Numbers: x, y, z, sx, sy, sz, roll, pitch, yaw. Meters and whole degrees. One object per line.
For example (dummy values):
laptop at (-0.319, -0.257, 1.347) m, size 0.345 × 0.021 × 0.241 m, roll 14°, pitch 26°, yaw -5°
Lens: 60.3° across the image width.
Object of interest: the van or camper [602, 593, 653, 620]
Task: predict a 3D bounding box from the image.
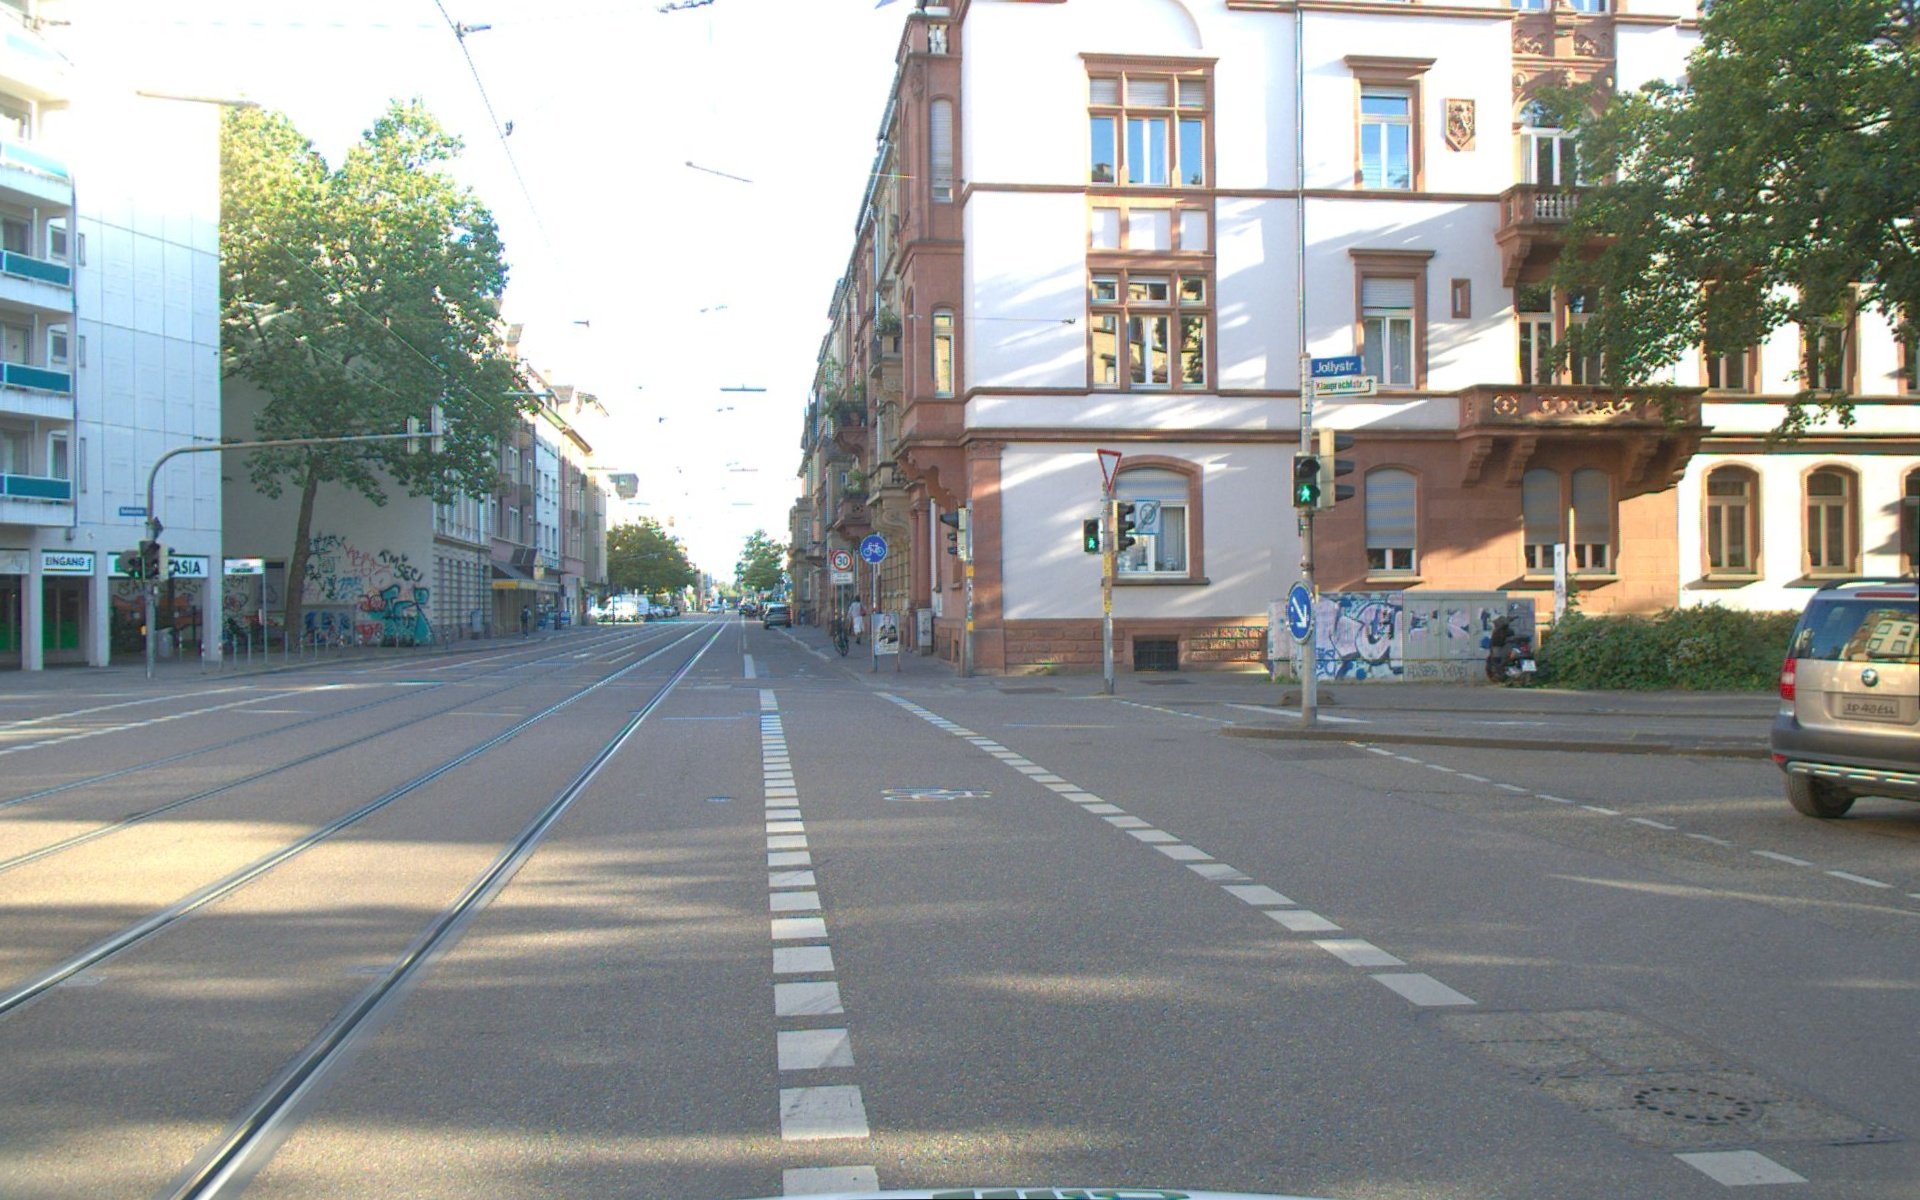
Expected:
van or camper at (-32.944, 0.625, 163.718) m, size 4.603 × 2.608 × 1.972 m, roll 1°, pitch -1°, yaw -39°

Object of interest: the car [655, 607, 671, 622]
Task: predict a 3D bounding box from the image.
car at (-40.438, 2.002, 225.172) m, size 1.956 × 2.049 × 3.992 m, roll -1°, pitch 0°, yaw -8°

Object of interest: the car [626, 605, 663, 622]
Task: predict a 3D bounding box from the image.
car at (-37.831, 1.636, 198.298) m, size 3.949 × 2.049 × 1.978 m, roll 0°, pitch 0°, yaw -33°

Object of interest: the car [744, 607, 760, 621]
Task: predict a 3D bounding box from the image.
car at (-25.651, 1.732, 203.735) m, size 1.956 × 1.758 × 3.992 m, roll 0°, pitch -1°, yaw -8°

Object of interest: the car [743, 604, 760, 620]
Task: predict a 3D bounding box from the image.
car at (-24.671, 1.429, 195.272) m, size 1.956 × 1.758 × 3.992 m, roll 0°, pitch -1°, yaw -8°

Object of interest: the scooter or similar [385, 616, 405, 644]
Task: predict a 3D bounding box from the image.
scooter or similar at (-22.330, 1.189, 65.351) m, size 0.507 × 1.064 × 1.475 m, roll -1°, pitch 0°, yaw -9°

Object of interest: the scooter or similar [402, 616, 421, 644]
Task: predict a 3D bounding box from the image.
scooter or similar at (-21.707, 1.183, 65.473) m, size 0.507 × 1.076 × 1.475 m, roll -1°, pitch 0°, yaw -9°

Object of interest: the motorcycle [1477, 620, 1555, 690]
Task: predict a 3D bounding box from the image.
motorcycle at (9.529, 0.918, 28.421) m, size 0.704 × 1.037 × 2.288 m, roll -1°, pitch 2°, yaw 4°

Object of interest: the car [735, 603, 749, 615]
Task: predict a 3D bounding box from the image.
car at (-31.249, 1.330, 237.507) m, size 1.956 × 1.758 × 3.992 m, roll 0°, pitch -1°, yaw -8°

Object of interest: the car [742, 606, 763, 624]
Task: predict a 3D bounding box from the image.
car at (-20.519, 1.470, 163.320) m, size 1.956 × 1.758 × 3.992 m, roll 0°, pitch -1°, yaw -8°

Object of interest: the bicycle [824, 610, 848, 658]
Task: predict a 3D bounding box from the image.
bicycle at (-3.562, 0.960, 47.280) m, size 0.640 × 1.347 × 2.174 m, roll -1°, pitch 0°, yaw -5°

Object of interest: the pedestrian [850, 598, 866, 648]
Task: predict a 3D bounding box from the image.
pedestrian at (-3.671, 0.828, 59.562) m, size 0.534 × 1.811 × 0.503 m, roll -1°, pitch -1°, yaw -7°

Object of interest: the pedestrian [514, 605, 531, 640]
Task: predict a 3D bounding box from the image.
pedestrian at (-21.750, 1.114, 82.242) m, size 0.688 × 1.759 × 0.646 m, roll -1°, pitch 0°, yaw -8°

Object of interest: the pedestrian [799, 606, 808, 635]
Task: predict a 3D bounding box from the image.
pedestrian at (-10.066, 1.316, 106.414) m, size 0.534 × 1.811 × 0.748 m, roll -1°, pitch 0°, yaw -7°

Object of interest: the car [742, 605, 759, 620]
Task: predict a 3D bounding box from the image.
car at (-23.913, 1.446, 188.793) m, size 1.956 × 1.758 × 3.992 m, roll 0°, pitch -1°, yaw -8°

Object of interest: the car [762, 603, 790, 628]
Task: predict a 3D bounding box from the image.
car at (-12.858, 1.097, 115.886) m, size 1.913 × 1.713 × 3.994 m, roll -1°, pitch 0°, yaw -6°

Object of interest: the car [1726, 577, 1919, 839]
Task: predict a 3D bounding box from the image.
car at (7.558, 0.661, 11.694) m, size 3.943 × 1.646 × 1.981 m, roll 0°, pitch 0°, yaw -29°
